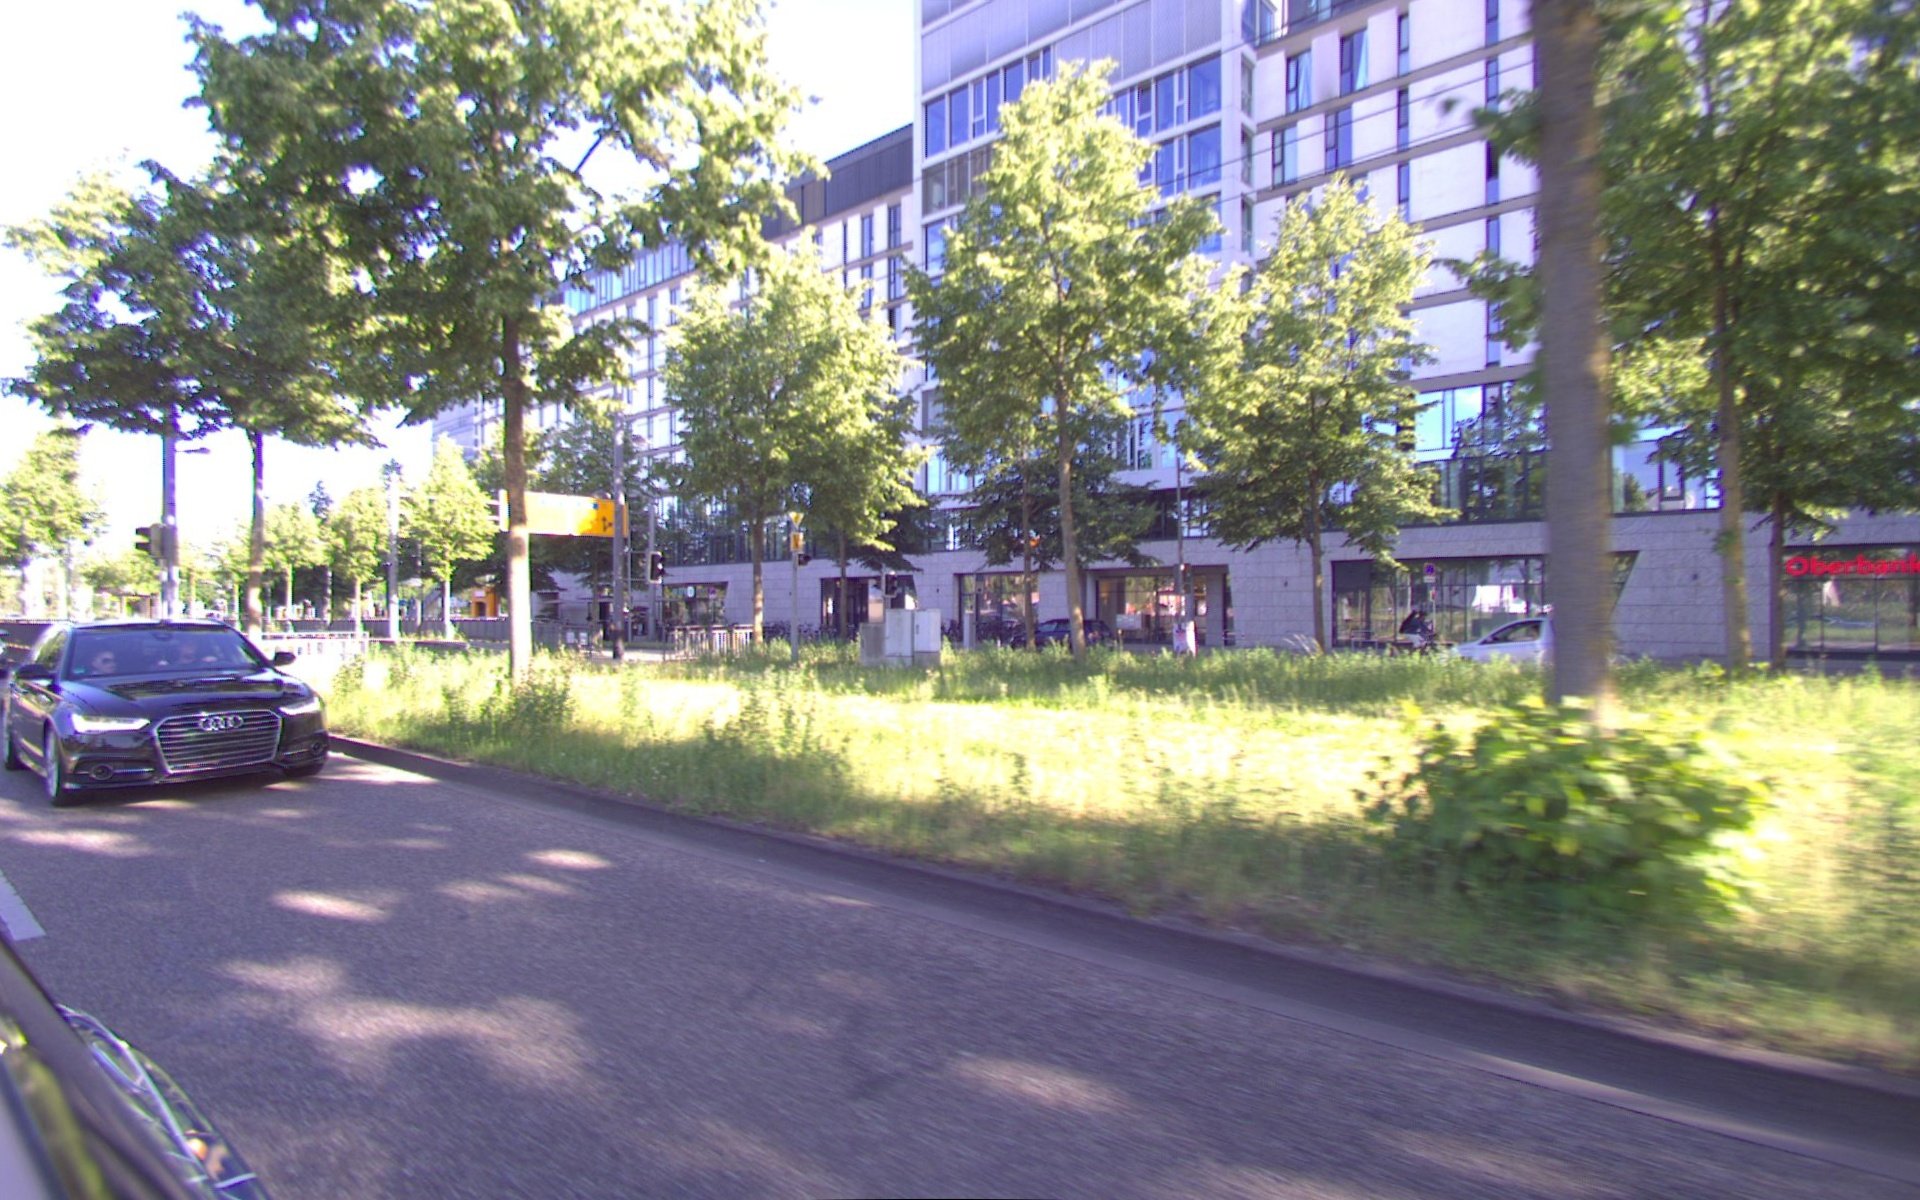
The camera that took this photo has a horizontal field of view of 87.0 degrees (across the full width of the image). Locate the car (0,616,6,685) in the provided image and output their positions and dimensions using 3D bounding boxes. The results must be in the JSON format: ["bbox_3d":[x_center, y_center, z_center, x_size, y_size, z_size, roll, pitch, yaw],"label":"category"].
[{"bbox_3d":[-24.396,1.192,24.220,4.526,1.581,1.825,-1,-1,41],"label":"car"}]

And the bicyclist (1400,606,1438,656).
[{"bbox_3d":[13.820,0.930,30.461,0.832,1.474,0.712,-1,-1,43],"label":"bicyclist"}]

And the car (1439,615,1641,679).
[{"bbox_3d":[12.473,0.966,21.859,3.484,1.247,1.750,-1,-1,42],"label":"car"}]

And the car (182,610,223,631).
[{"bbox_3d":[-64.146,1.719,85.674,4.226,1.763,1.973,-1,-2,41],"label":"car"}]

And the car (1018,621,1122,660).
[{"bbox_3d":[3.961,1.435,36.649,3.464,1.244,1.633,1,0,41],"label":"car"}]

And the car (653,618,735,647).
[{"bbox_3d":[-13.820,1.672,52.485,4.543,1.431,1.938,-1,-1,42],"label":"car"}]

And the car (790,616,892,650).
[{"bbox_3d":[-5.317,1.445,44.871,4.543,1.431,1.978,-1,-1,42],"label":"car"}]

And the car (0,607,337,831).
[{"bbox_3d":[-7.514,0.874,9.317,4.599,1.538,1.765,-1,0,42],"label":"car"}]

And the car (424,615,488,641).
[{"bbox_3d":[-28.934,1.600,58.039,4.331,1.414,1.742,-1,-1,41],"label":"car"}]

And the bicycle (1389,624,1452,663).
[{"bbox_3d":[13.842,1.295,30.439,1.571,1.128,0.724,-1,-1,44],"label":"bicycle"}]
